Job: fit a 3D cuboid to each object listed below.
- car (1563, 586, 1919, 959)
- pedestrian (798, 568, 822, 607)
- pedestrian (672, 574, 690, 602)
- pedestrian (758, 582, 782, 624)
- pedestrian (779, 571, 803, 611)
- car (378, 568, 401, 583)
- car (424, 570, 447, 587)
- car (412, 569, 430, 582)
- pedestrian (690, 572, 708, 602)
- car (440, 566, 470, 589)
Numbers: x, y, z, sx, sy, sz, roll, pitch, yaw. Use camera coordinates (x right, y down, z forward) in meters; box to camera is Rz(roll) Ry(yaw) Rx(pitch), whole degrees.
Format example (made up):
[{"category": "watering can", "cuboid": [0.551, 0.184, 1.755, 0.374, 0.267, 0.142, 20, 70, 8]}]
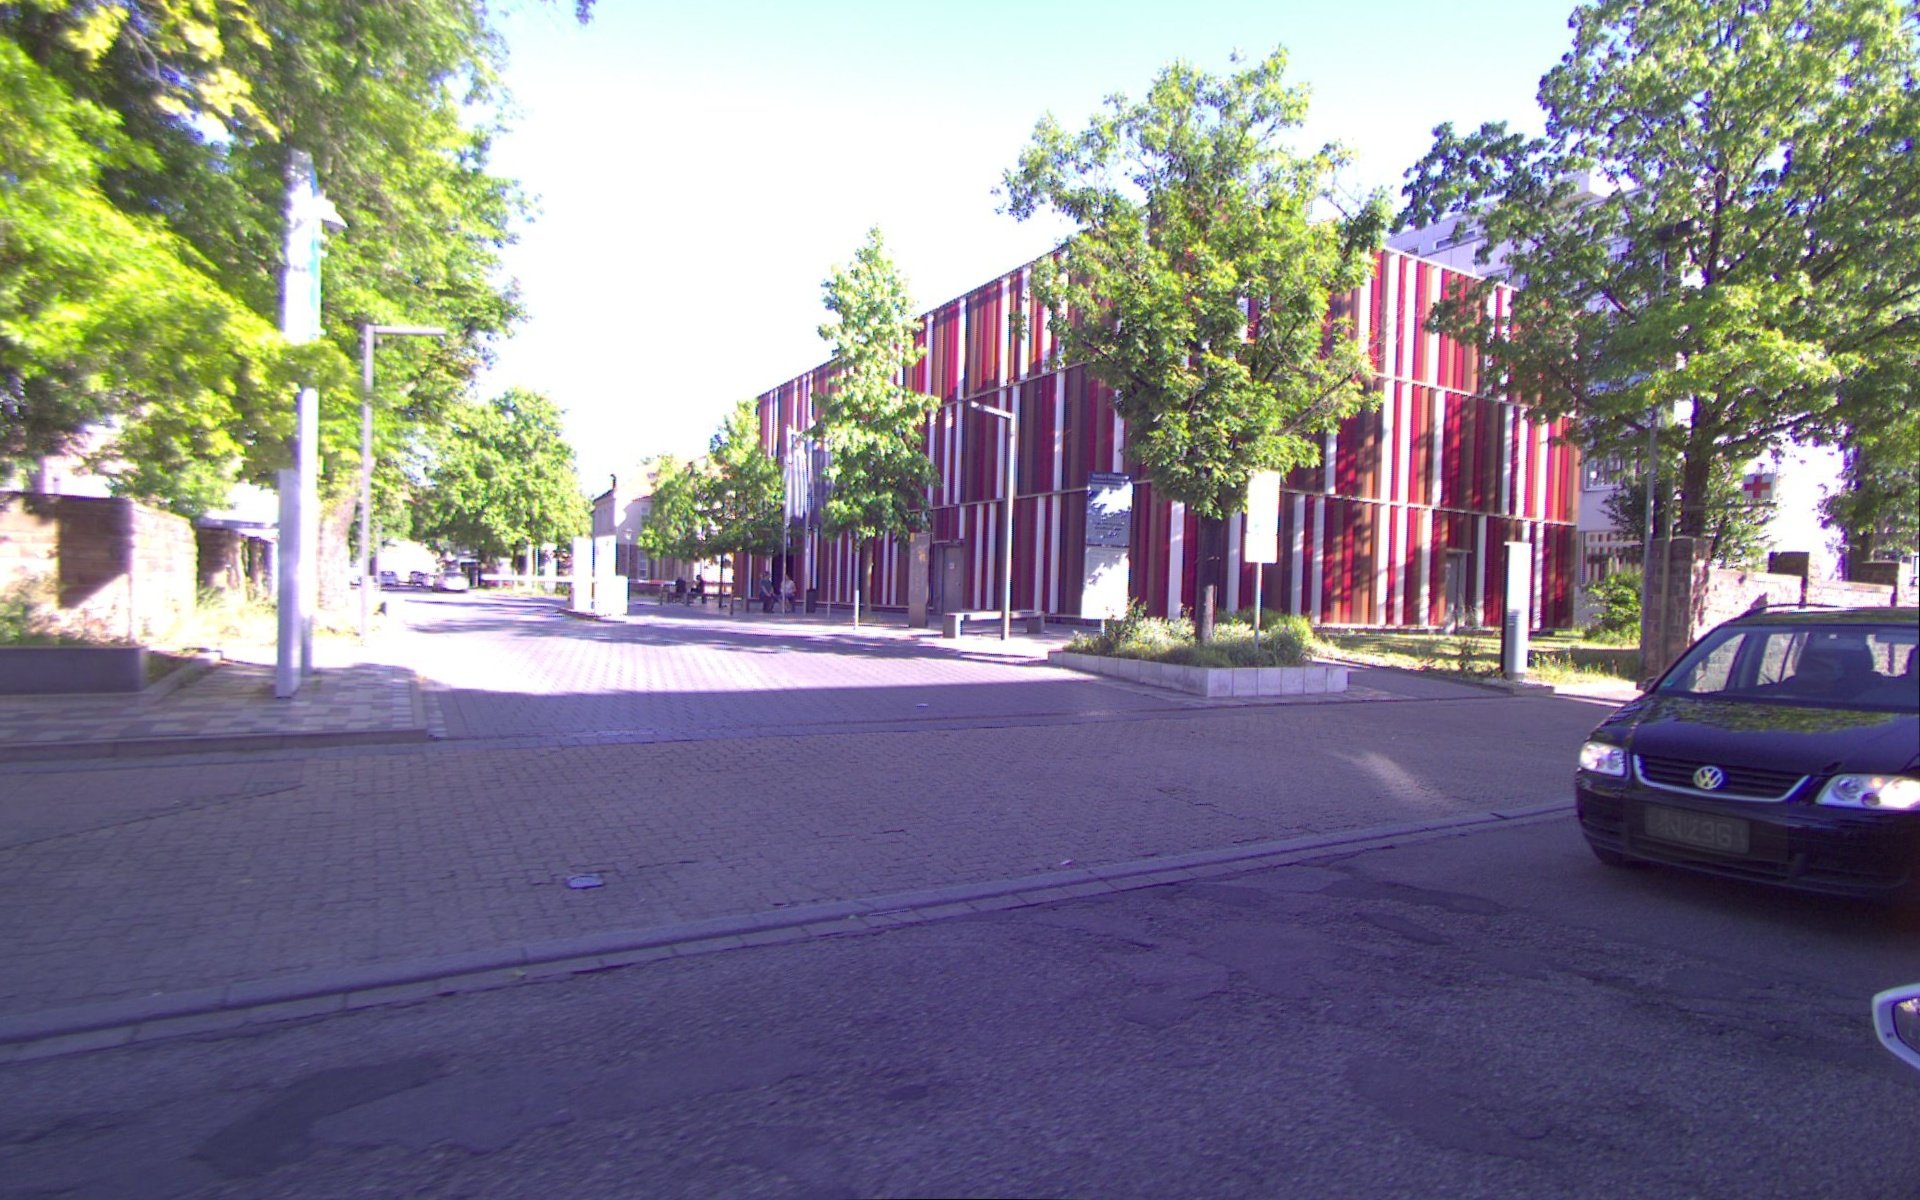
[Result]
[{"category": "car", "cuboid": [5.518, 0.802, 6.058, 3.977, 1.632, 1.634, 2, -1, -33]}, {"category": "pedestrian", "cuboid": [-5.326, -0.439, 35.574, 0.605, 1.371, 0.565, 1, 2, -37]}, {"category": "pedestrian", "cuboid": [-12.446, -0.532, 44.799, 0.604, 1.192, 0.566, 1, 2, -35]}, {"category": "pedestrian", "cuboid": [-6.548, 0.098, 34.590, 0.605, 1.398, 0.565, 1, 2, -37]}, {"category": "pedestrian", "cuboid": [-5.908, -0.311, 35.035, 0.605, 1.371, 0.565, 1, 2, -37]}, {"category": "car", "cuboid": [-55.045, -2.368, 96.959, 1.714, 1.341, 3.049, 2, 2, -26]}, {"category": "car", "cuboid": [-46.349, -1.887, 88.851, 1.714, 1.341, 3.049, 2, 2, -26]}, {"category": "car", "cuboid": [-63.962, -2.919, 119.150, 1.714, 1.341, 3.049, 2, 3, -26]}, {"category": "pedestrian", "cuboid": [-11.761, -0.581, 45.239, 0.604, 1.336, 0.566, 1, 2, -35]}, {"category": "car", "cuboid": [-32.749, -1.487, 65.199, 1.714, 1.341, 3.049, 2, 2, -26]}]
